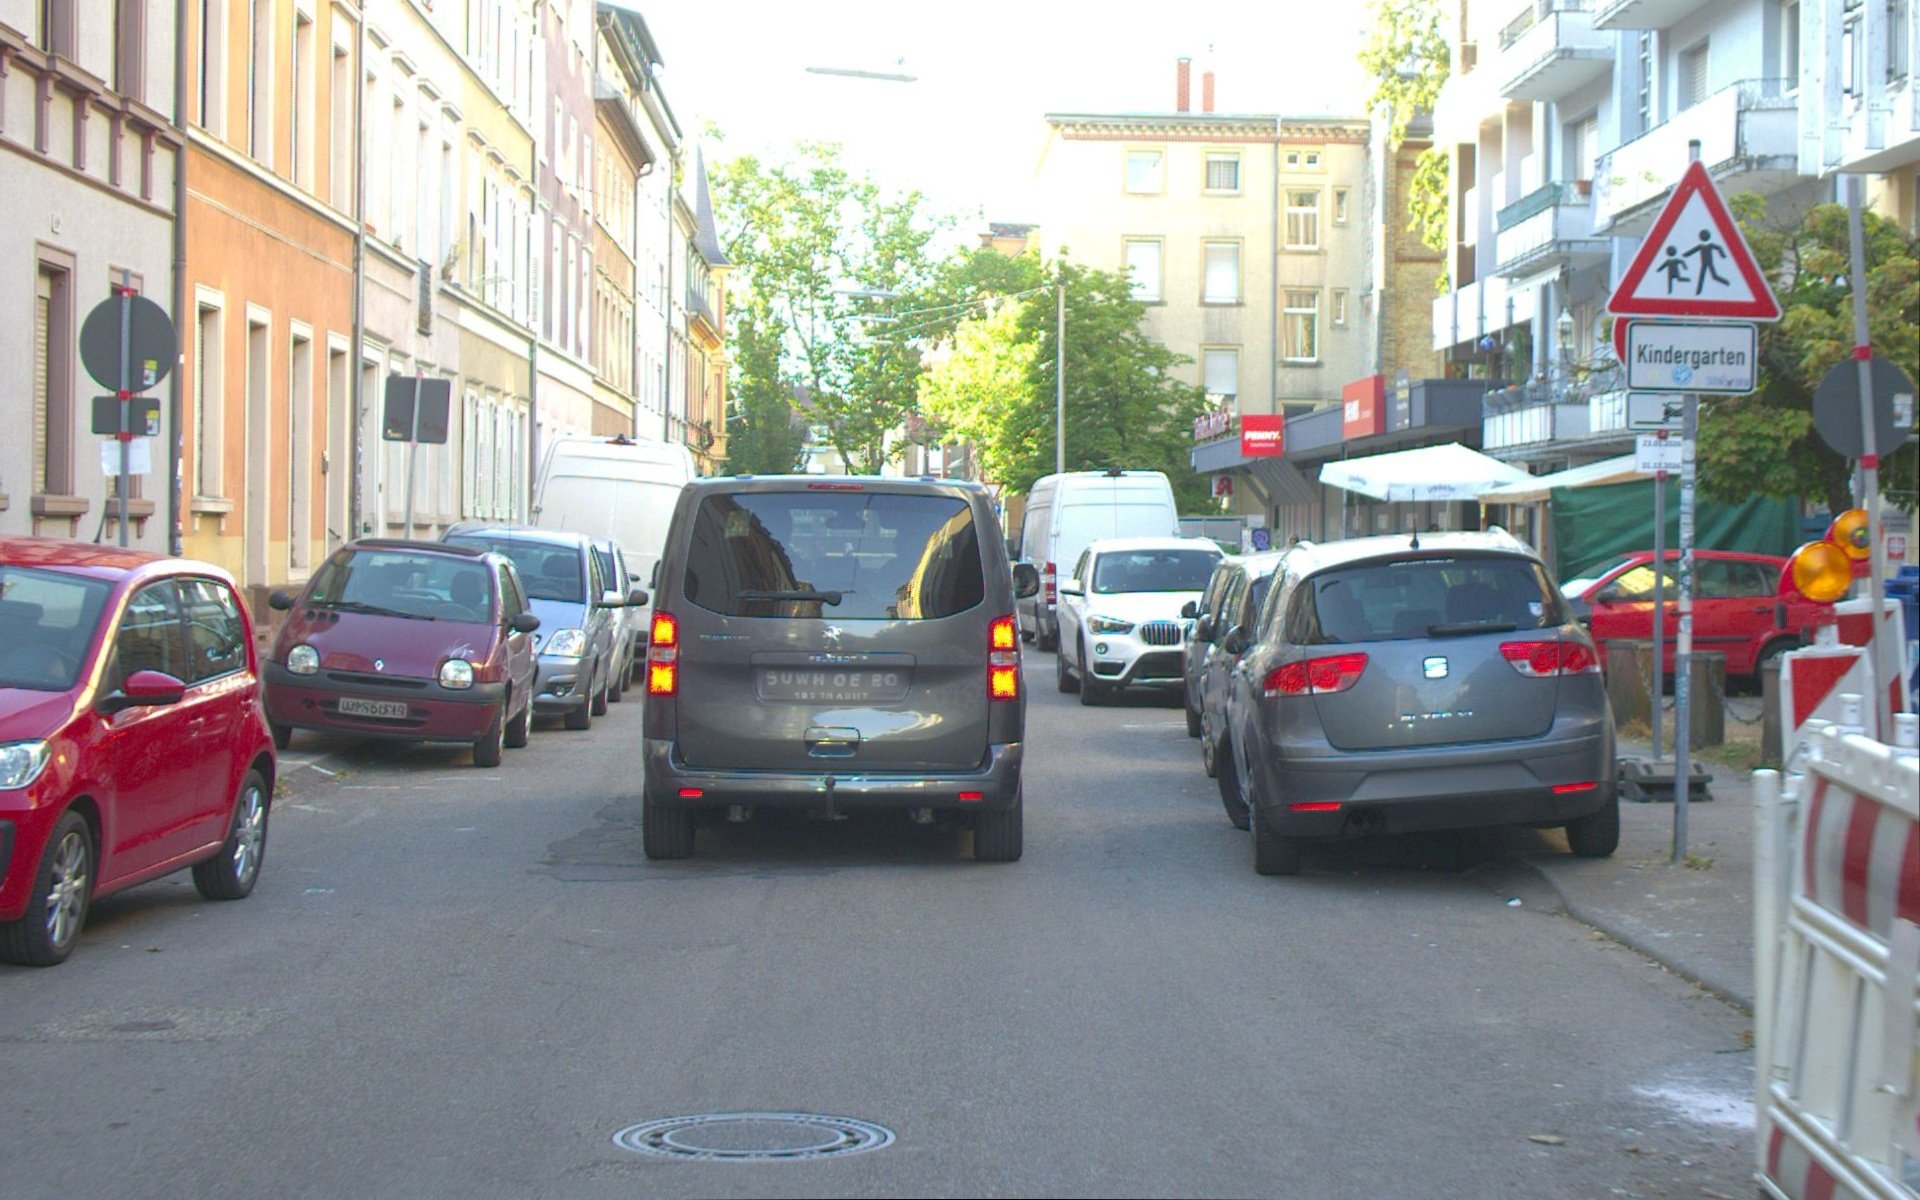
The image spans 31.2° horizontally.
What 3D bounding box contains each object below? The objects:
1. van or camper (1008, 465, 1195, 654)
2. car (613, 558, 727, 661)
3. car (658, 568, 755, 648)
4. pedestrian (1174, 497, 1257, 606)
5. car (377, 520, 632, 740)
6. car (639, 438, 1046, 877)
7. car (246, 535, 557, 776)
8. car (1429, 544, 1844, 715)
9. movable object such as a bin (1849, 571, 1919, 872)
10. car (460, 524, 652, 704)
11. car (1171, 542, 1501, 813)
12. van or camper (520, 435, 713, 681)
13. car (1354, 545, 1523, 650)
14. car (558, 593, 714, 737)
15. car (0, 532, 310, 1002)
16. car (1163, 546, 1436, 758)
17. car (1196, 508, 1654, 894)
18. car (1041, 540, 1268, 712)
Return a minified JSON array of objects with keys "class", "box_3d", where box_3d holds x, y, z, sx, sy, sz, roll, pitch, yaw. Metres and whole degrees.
[{"class":"van or camper","box_3d":[1.992,-0.626,50.921,2.099,2.593,7.513,0,1,-3]},{"class":"car","box_3d":[-4.609,0.122,54.411,1.710,1.492,3.856,1,1,-5]},{"class":"car","box_3d":[-4.934,0.132,66.845,1.788,1.393,4.468,2,1,-4]},{"class":"pedestrian","box_3d":[3.717,-0.710,50.076,0.870,1.550,0.876,-2,2,-23]},{"class":"car","box_3d":[-3.800,0.198,29.230,1.711,1.638,3.980,3,1,-3]},{"class":"car","box_3d":[-0.613,0.225,17.952,1.857,2.007,4.001,-1,1,-2]},{"class":"car","box_3d":[-3.816,0.332,23.953,1.657,1.443,3.286,4,1,-2]},{"class":"car","box_3d":[7.005,0.286,35.823,3.895,1.602,1.694,2,1,-2]},{"class":"movable object such as a bin","box_3d":[4.956,0.578,16.118,1.250,1.371,0.802,2,1,-26]},{"class":"car","box_3d":[-4.024,0.101,34.705,1.590,1.680,3.653,1,1,-2]},{"class":"car","box_3d":[2.329,0.428,22.120,1.621,1.552,3.694,1,1,-1]},{"class":"van or camper","box_3d":[-3.956,-0.513,40.599,1.949,2.640,7.142,0,1,-3]},{"class":"car","box_3d":[6.729,-0.057,48.142,1.602,1.411,3.225,1,1,22]},{"class":"car","box_3d":[-4.367,0.844,46.852,1.863,1.745,4.294,1,1,-3]},{"class":"car","box_3d":[-3.907,0.520,13.540,1.669,1.480,3.605,6,1,4]},{"class":"car","box_3d":[2.562,0.342,26.771,1.620,1.481,4.125,-1,1,-1]},{"class":"car","box_3d":[2.241,0.409,17.690,1.749,1.677,4.525,2,1,1]},{"class":"car","box_3d":[1.899,0.213,34.931,1.722,1.606,4.589,1,1,-4]}]
